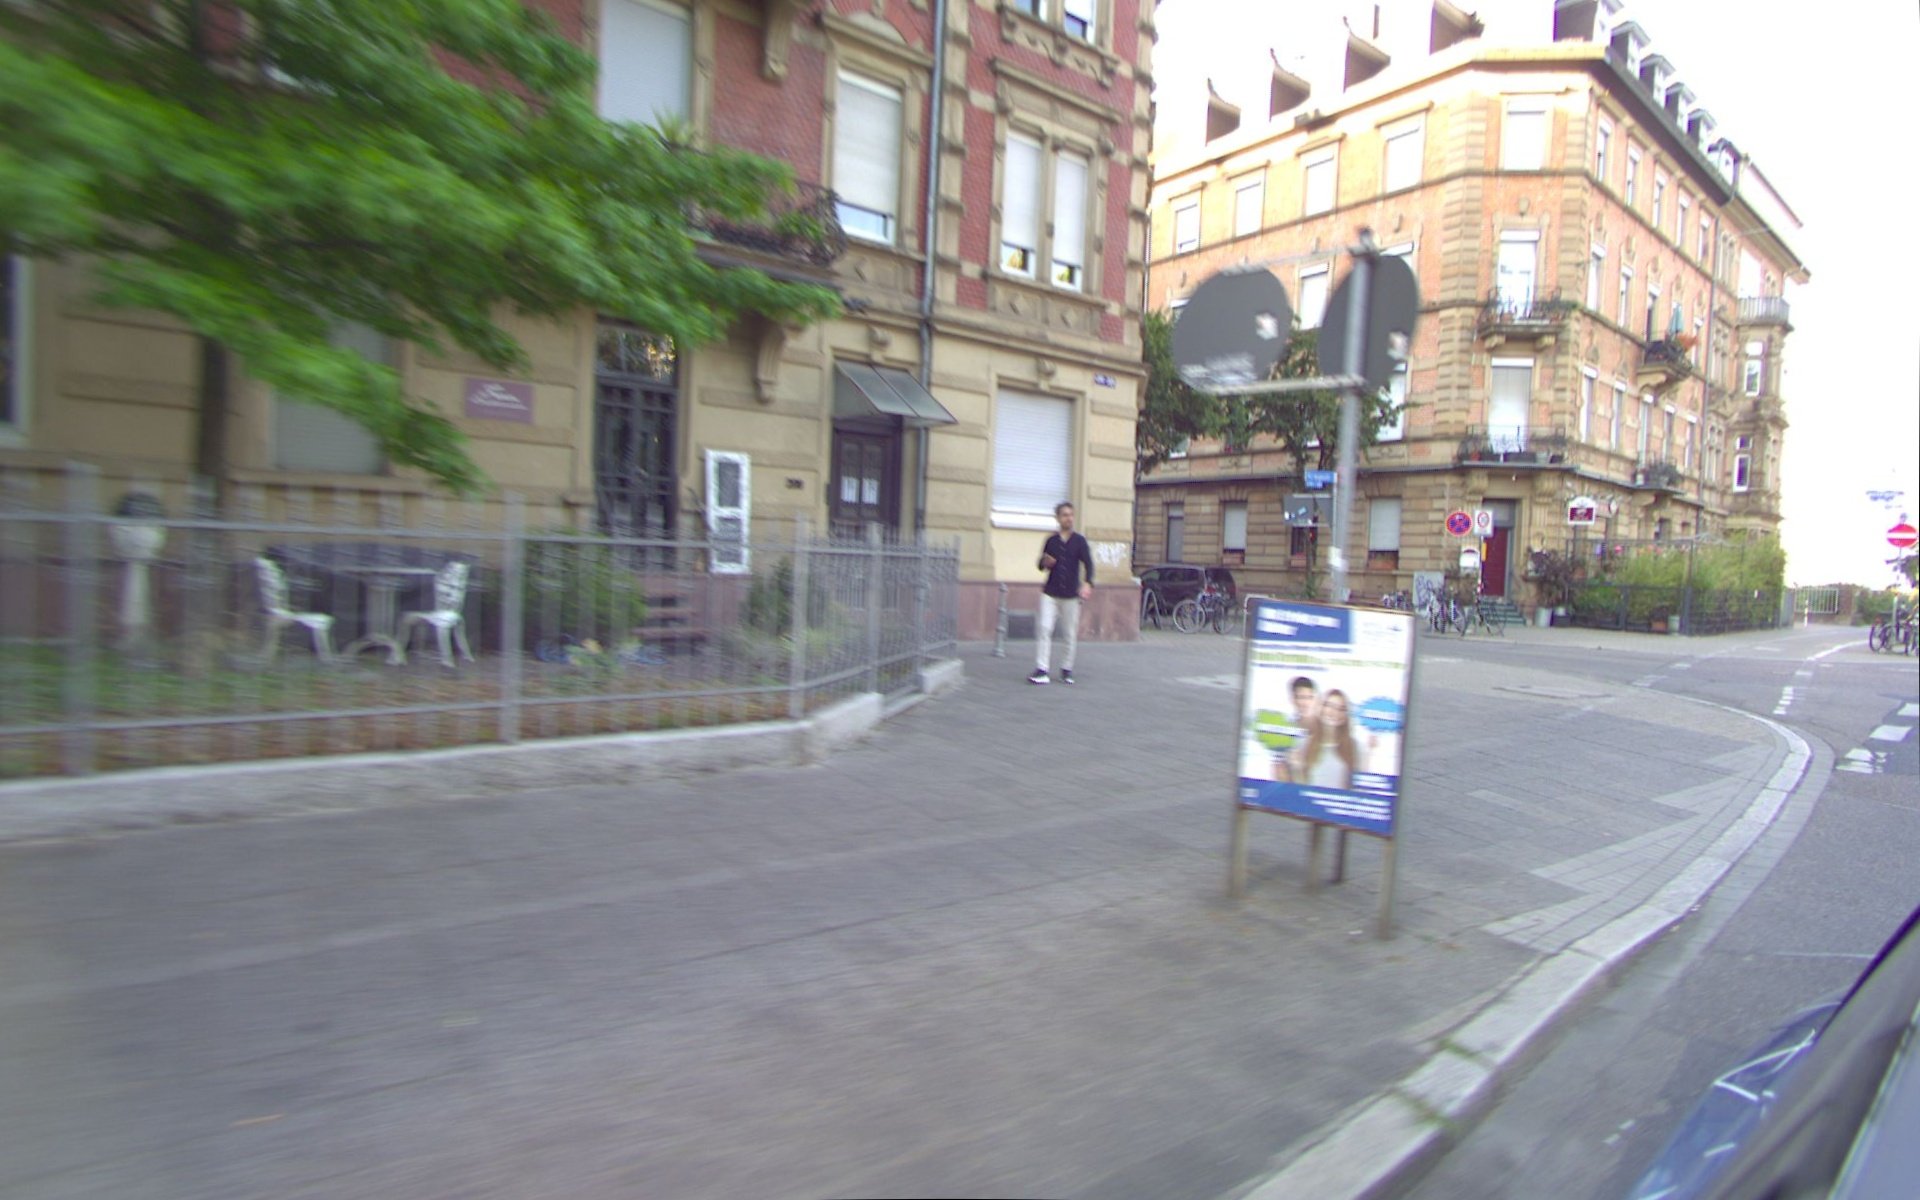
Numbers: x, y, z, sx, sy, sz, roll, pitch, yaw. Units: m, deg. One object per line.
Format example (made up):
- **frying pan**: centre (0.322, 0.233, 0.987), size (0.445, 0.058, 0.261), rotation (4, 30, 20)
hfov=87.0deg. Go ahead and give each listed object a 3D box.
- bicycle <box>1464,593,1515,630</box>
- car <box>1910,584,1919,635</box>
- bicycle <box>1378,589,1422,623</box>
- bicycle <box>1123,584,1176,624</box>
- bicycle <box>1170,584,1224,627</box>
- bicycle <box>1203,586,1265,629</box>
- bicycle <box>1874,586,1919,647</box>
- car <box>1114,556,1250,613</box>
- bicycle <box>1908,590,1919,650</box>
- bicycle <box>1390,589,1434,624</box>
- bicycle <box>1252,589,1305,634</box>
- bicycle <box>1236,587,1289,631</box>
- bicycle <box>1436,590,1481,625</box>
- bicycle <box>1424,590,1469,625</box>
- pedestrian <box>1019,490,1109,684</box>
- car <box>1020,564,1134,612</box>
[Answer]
- **bicycle**: centre (12.856, 0.271, 24.537), size (1.701, 0.827, 0.295), rotation (-2, 2, -33)
- **car**: centre (29.873, 0.359, 30.226), size (3.484, 1.482, 1.731), rotation (0, 6, -41)
- **bicycle**: centre (11.614, 0.154, 26.669), size (1.468, 0.827, 0.295), rotation (-2, 2, -33)
- **bicycle**: centre (4.283, 0.101, 22.808), size (1.471, 0.827, 0.295), rotation (4, -2, -41)
- **bicycle**: centre (5.021, 0.125, 21.415), size (1.471, 0.827, 0.295), rotation (4, -2, -41)
- **bicycle**: centre (5.833, 0.166, 21.511), size (1.467, 0.827, 0.296), rotation (4, -2, -30)
- **bicycle**: centre (22.195, 0.369, 23.889), size (2.226, 1.289, 0.567), rotation (-2, 8, -42)
- **car**: centre (7.004, -0.530, 32.254), size (1.814, 1.626, 4.000), rotation (0, 2, -37)
- **bicycle**: centre (22.579, 0.456, 23.462), size (2.226, 1.314, 0.567), rotation (-2, 8, -42)
- **bicycle**: centre (11.804, 0.158, 26.406), size (1.468, 0.827, 0.295), rotation (-2, 2, -33)
- **bicycle**: centre (6.456, 0.241, 20.469), size (1.471, 0.827, 0.292), rotation (4, -2, -41)
- **bicycle**: centre (6.205, 0.202, 20.734), size (1.471, 0.827, 0.292), rotation (4, -2, -41)
- **bicycle**: centre (12.602, 0.185, 25.563), size (1.468, 0.827, 0.295), rotation (-2, 2, -33)
- **bicycle**: centre (12.427, 0.173, 25.827), size (1.468, 0.827, 0.295), rotation (-2, 2, -33)
- **pedestrian**: centre (1.040, -0.151, 10.065), size (0.735, 1.799, 0.830), rotation (4, 4, 8)
- **car**: centre (4.121, -0.470, 36.202), size (1.814, 1.541, 4.000), rotation (0, 2, -37)
